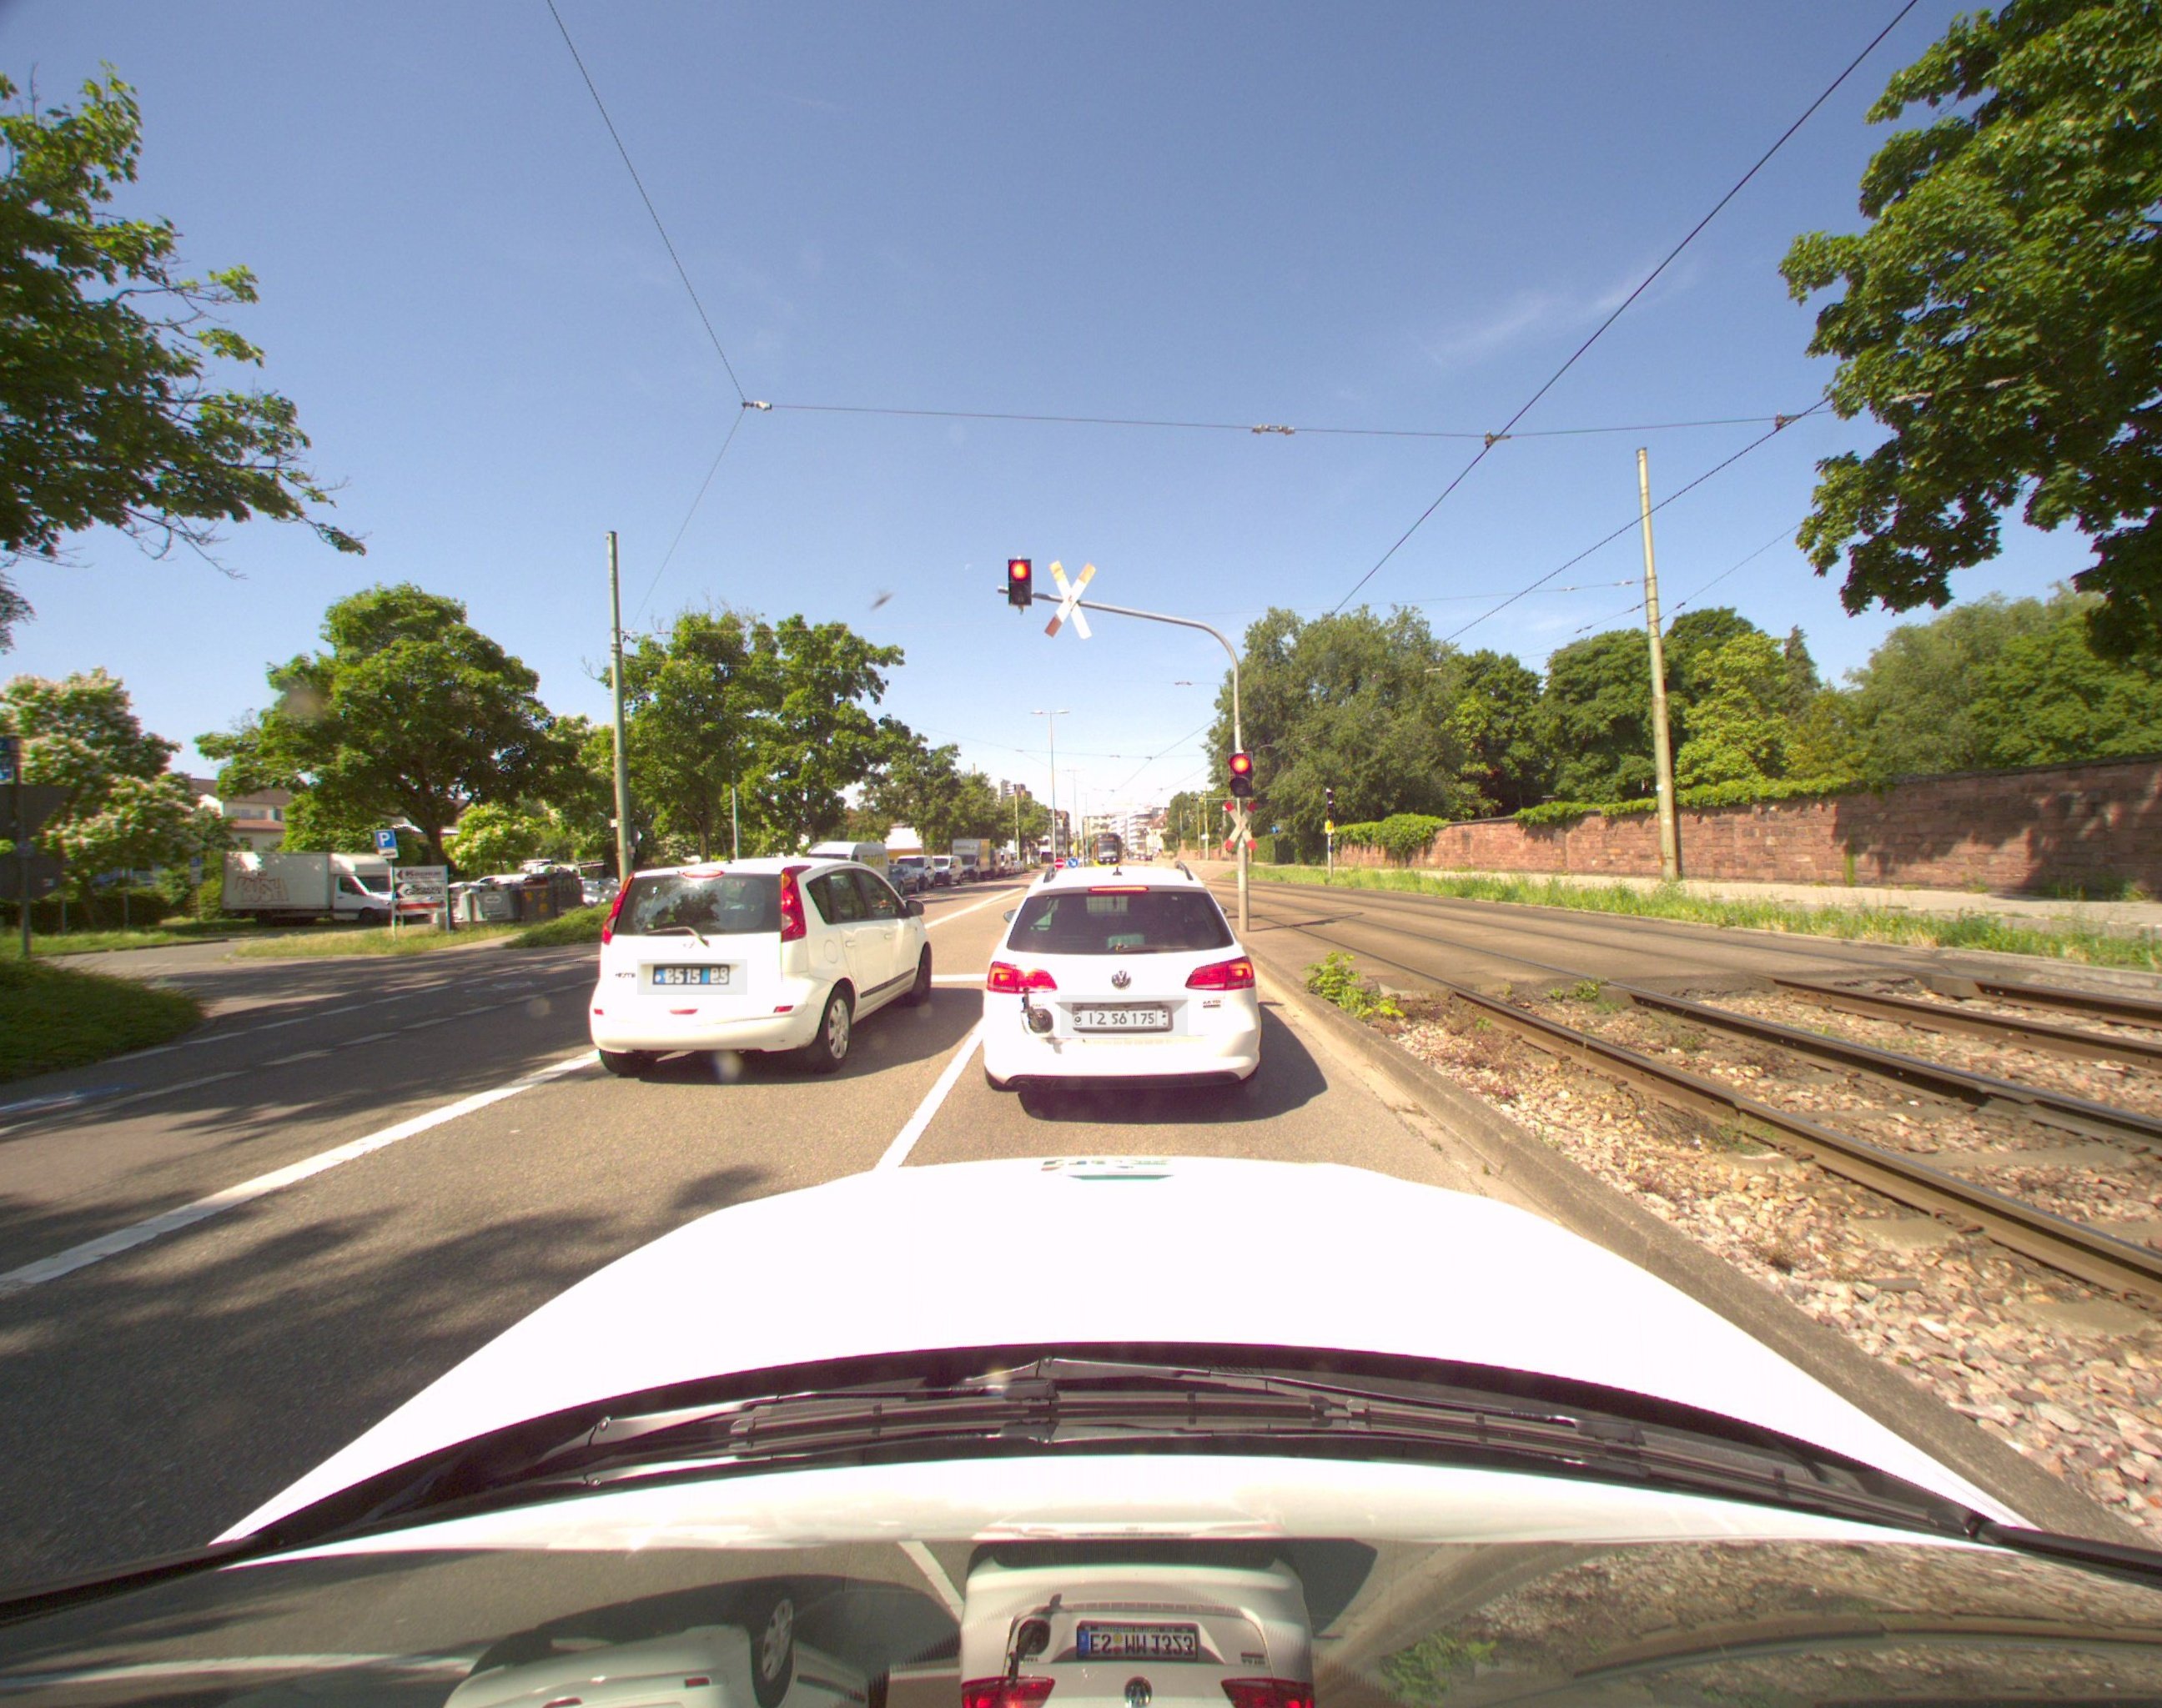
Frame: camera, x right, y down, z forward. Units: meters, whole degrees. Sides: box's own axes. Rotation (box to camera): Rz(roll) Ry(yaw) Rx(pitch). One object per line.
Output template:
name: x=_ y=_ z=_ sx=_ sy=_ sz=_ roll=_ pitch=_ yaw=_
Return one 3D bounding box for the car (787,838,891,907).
car: x=-9.575 y=0.669 z=32.793 sx=2.114 sy=2.516 sz=5.822 roll=0 pitch=0 yaw=3

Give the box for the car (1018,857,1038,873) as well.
car: x=-6.397 y=1.351 z=98.938 sx=1.856 sy=1.868 sz=5.415 roll=0 pitch=0 yaw=1

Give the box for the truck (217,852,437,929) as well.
truck: x=-32.426 y=1.518 z=35.204 sx=6.979 sy=3.110 sz=2.677 roll=0 pitch=0 yaw=0

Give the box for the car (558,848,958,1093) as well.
car: x=-2.439 y=0.752 z=7.531 sx=1.655 sy=1.547 sz=4.550 roll=-1 pitch=0 yaw=3

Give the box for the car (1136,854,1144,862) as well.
car: x=14.753 y=1.036 z=203.327 sx=1.857 sy=1.868 sz=5.063 roll=0 pitch=0 yaw=1

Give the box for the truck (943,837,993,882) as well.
truck: x=-8.311 y=0.409 z=60.686 sx=2.411 sy=3.150 sz=7.001 roll=0 pitch=0 yaw=2

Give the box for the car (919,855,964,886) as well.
car: x=-8.873 y=1.008 z=52.267 sx=1.856 sy=1.868 sz=5.415 roll=0 pitch=0 yaw=1

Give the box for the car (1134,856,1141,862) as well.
car: x=18.055 y=1.572 z=259.020 sx=1.857 sy=1.868 sz=5.063 roll=0 pitch=0 yaw=1

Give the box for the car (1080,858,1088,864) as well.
car: x=0.770 y=1.831 z=207.293 sx=1.699 sy=1.473 sz=4.590 roll=-3 pitch=0 yaw=1

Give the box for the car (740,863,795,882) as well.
car: x=-31.778 y=1.857 z=82.776 sx=4.780 sy=1.787 sz=2.062 roll=0 pitch=-1 yaw=-3

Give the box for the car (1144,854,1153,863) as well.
car: x=15.647 y=1.010 z=188.662 sx=1.857 sy=1.868 sz=5.063 roll=0 pitch=0 yaw=1

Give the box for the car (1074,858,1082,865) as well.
car: x=-0.612 y=1.619 z=182.416 sx=1.699 sy=1.473 sz=4.590 roll=-3 pitch=0 yaw=1

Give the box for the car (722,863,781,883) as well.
car: x=-31.539 y=1.816 z=77.971 sx=4.780 sy=1.787 sz=2.062 roll=0 pitch=-1 yaw=-3

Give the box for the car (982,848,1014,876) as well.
car: x=-7.722 y=0.728 z=76.117 sx=2.114 sy=2.516 sz=5.737 roll=0 pitch=0 yaw=2

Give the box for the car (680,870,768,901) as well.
car: x=-19.541 y=1.719 z=44.729 sx=3.977 sy=1.415 sz=1.729 roll=-4 pitch=-1 yaw=-3

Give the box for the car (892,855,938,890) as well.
car: x=-9.238 y=0.988 z=45.684 sx=1.859 sy=1.868 sz=5.068 roll=0 pitch=0 yaw=-4

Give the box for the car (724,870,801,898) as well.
car: x=-19.465 y=1.818 z=49.879 sx=3.977 sy=1.415 sz=1.729 roll=-4 pitch=-1 yaw=-3

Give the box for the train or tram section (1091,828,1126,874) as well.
train or tram section: x=2.706 y=-0.268 z=76.520 sx=2.859 sy=3.855 sz=12.400 roll=-3 pitch=0 yaw=3

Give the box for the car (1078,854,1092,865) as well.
car: x=0.555 y=0.774 z=112.809 sx=1.698 sy=1.473 sz=4.593 roll=-3 pitch=0 yaw=3

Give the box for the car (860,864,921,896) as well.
car: x=-9.075 y=1.219 z=39.136 sx=1.856 sy=1.415 sz=4.281 roll=0 pitch=0 yaw=1

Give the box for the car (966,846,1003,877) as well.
car: x=-8.076 y=0.613 z=68.685 sx=2.114 sy=2.516 sz=5.737 roll=0 pitch=0 yaw=2

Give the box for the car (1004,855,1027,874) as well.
car: x=-6.829 y=1.090 z=85.209 sx=1.856 sy=1.868 sz=5.415 roll=0 pitch=0 yaw=1

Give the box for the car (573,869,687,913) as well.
car: x=-19.919 y=1.625 z=36.066 sx=3.977 sy=1.610 sz=1.729 roll=-4 pitch=-1 yaw=-3

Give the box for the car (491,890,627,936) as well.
car: x=-19.901 y=2.231 z=31.165 sx=3.977 sy=1.415 sz=1.729 roll=-4 pitch=-1 yaw=-3

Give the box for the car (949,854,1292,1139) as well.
car: x=0.271 y=0.753 z=6.316 sx=1.756 sy=1.430 sz=4.002 roll=-3 pitch=0 yaw=2

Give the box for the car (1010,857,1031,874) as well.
car: x=-6.779 y=1.307 z=92.026 sx=1.856 sy=1.868 sz=5.415 roll=0 pitch=0 yaw=1

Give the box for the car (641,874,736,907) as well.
car: x=-20.260 y=1.863 z=42.192 sx=3.977 sy=1.415 sz=1.729 roll=-4 pitch=-1 yaw=-3

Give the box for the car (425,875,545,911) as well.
car: x=-31.770 y=2.045 z=43.502 sx=4.780 sy=1.787 sz=2.062 roll=0 pitch=-1 yaw=-3

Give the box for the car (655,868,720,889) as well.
car: x=-35.202 y=2.192 z=72.971 sx=4.780 sy=1.787 sz=2.062 roll=0 pitch=-1 yaw=-3

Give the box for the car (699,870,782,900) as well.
car: x=-19.611 y=1.764 z=47.063 sx=3.977 sy=1.415 sz=1.729 roll=-4 pitch=-1 yaw=-3

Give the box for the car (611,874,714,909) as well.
car: x=-20.297 y=1.802 z=39.602 sx=3.977 sy=1.415 sz=1.729 roll=-4 pitch=-1 yaw=-3

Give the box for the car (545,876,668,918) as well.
car: x=-19.669 y=1.766 z=33.858 sx=3.977 sy=1.415 sz=1.729 roll=-4 pitch=-1 yaw=-3
